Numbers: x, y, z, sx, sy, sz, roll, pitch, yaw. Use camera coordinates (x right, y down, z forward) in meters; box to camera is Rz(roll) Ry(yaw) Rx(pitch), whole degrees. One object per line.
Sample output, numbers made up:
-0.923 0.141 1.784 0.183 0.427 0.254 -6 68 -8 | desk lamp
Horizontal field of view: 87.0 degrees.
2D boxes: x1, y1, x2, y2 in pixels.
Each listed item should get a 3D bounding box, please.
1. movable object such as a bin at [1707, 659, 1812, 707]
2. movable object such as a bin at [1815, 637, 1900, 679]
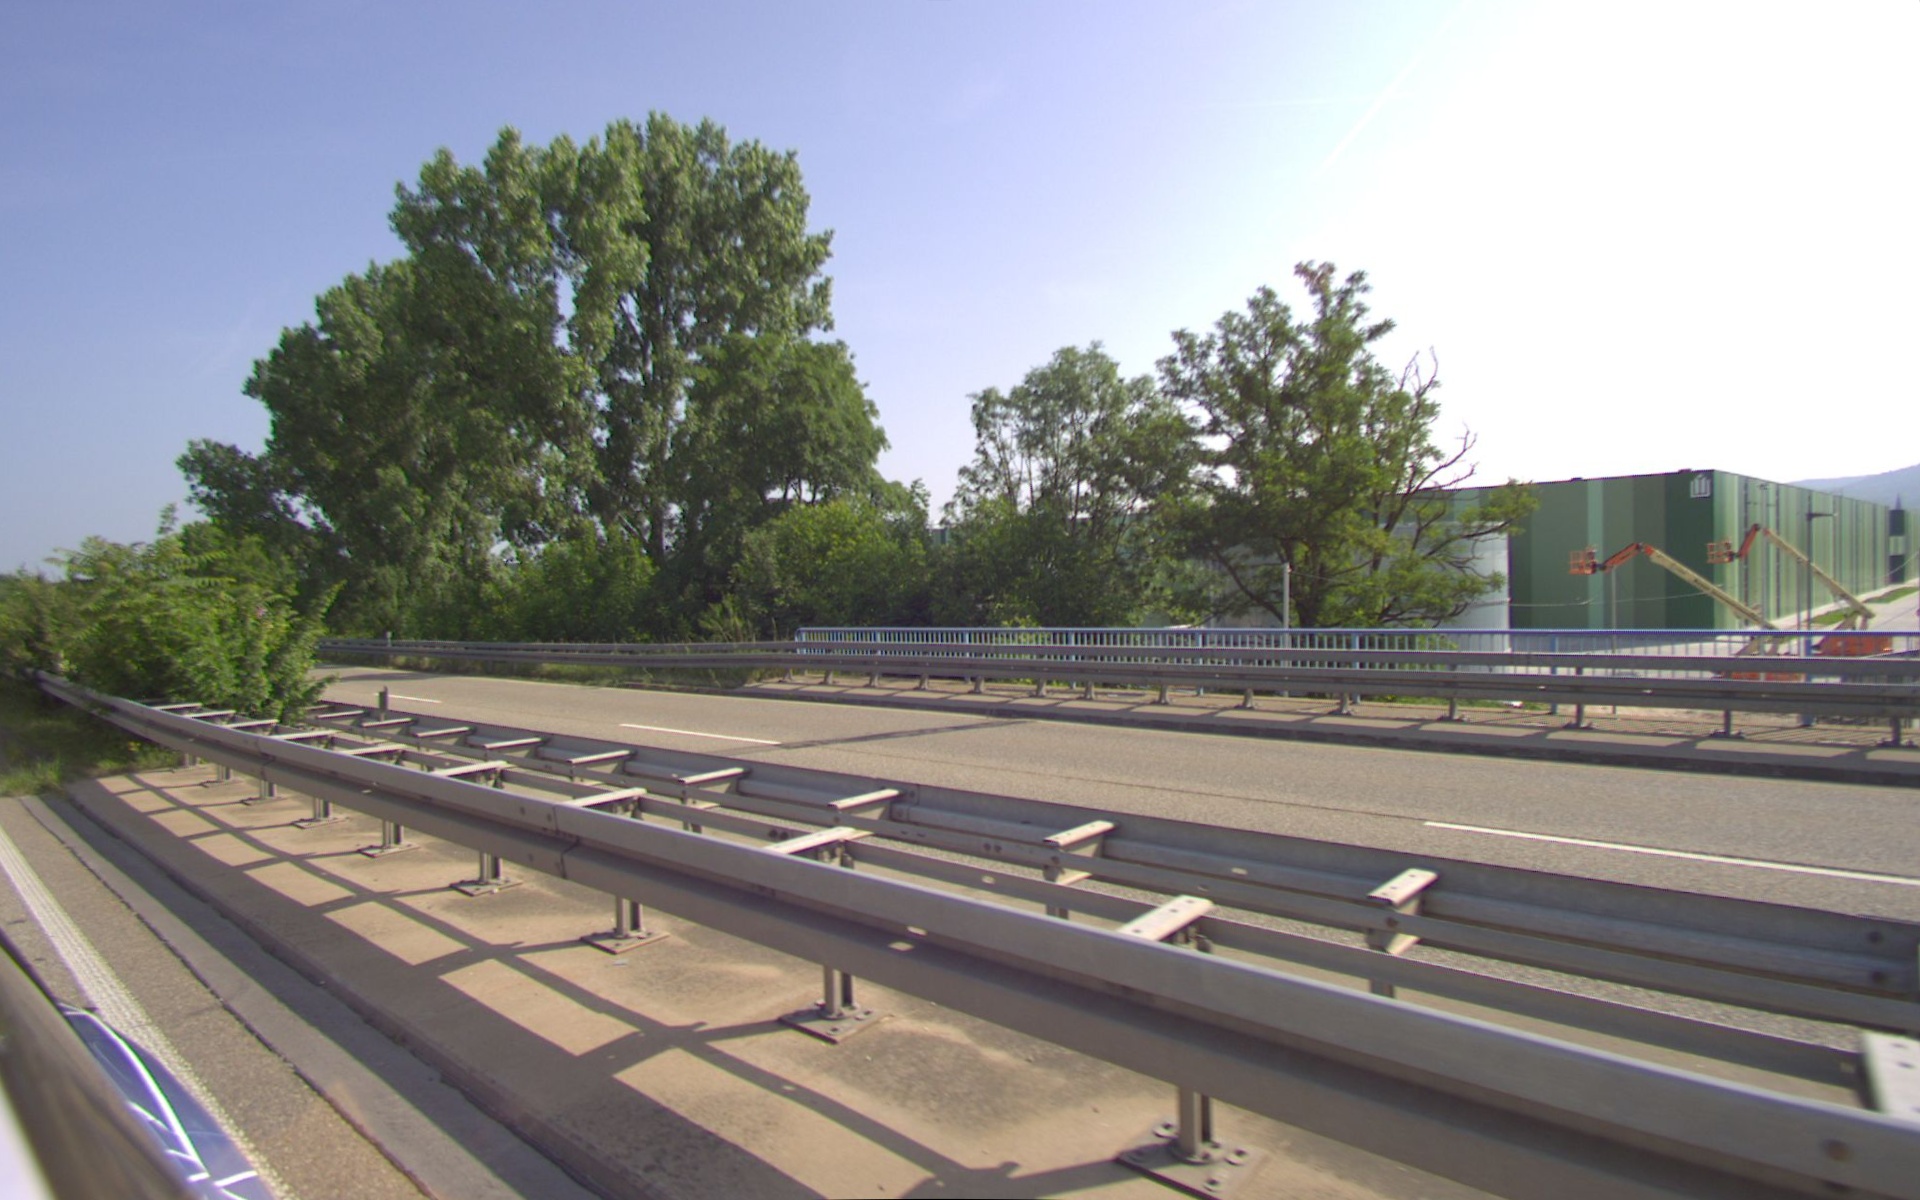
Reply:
38.455 3.940 48.739 3.798 2.029 1.834 -1 0 45 | movable object such as a bin
49.917 3.188 56.322 1.702 2.095 3.403 0 0 -43 | movable object such as a bin
